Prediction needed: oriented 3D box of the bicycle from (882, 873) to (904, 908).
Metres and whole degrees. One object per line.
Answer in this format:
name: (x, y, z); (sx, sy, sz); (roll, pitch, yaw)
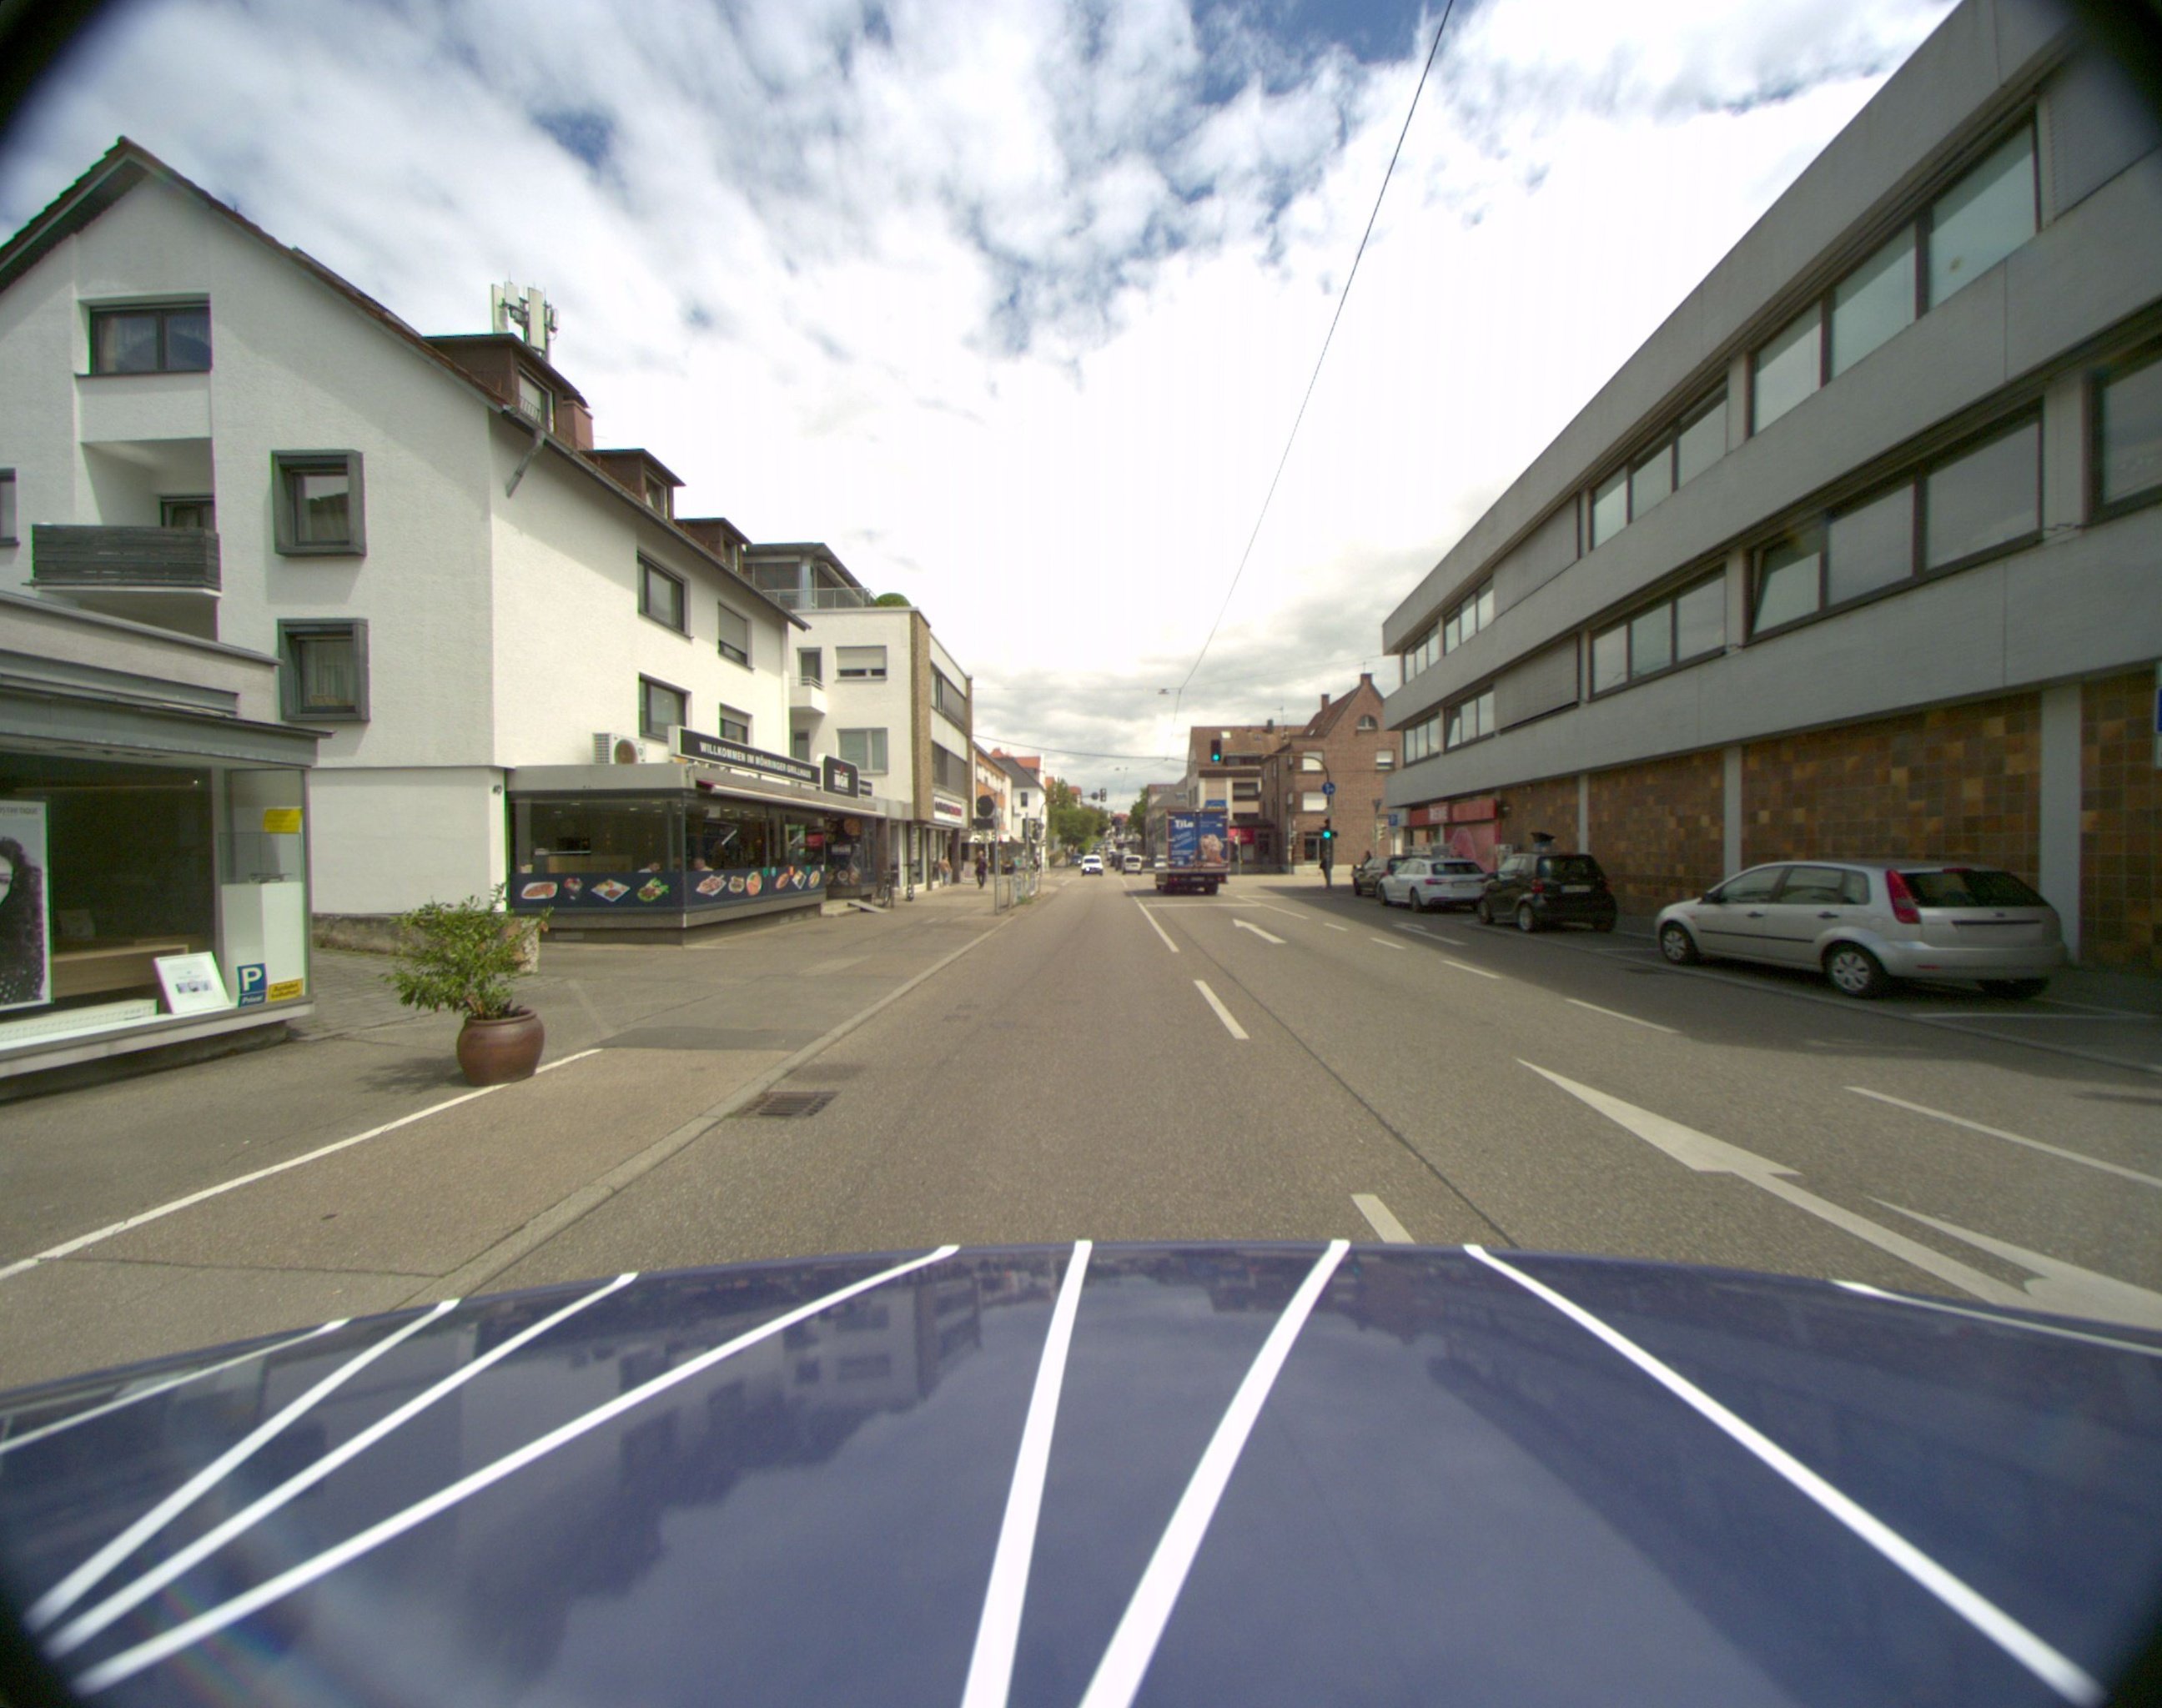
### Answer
bicycle: (-5.872, 1.127, 23.726); (0.476, 1.022, 1.635); (0, 0, -7)

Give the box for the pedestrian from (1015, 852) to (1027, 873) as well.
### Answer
pedestrian: (-4.436, 0.622, 56.397); (0.779, 1.517, 0.819); (0, 0, 4)

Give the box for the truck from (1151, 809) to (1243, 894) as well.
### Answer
truck: (4.604, -0.106, 31.718); (2.860, 3.075, 8.089); (0, 0, 2)

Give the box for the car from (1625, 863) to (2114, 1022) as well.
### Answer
car: (8.856, 0.857, 9.187); (1.726, 1.413, 4.149); (-2, 0, 3)

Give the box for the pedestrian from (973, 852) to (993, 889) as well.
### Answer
pedestrian: (-4.454, 0.725, 34.614); (0.797, 1.661, 0.807); (0, 1, 1)

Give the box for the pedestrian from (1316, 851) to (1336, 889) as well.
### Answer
pedestrian: (10.989, 0.709, 34.081); (0.719, 1.635, 0.682); (-2, 0, 7)

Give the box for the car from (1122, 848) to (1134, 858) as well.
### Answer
car: (8.591, -0.172, 139.119); (2.110, 1.778, 4.530); (-1, 0, 2)

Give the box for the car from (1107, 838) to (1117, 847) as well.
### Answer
car: (6.774, -2.515, 168.393); (1.982, 1.985, 5.028); (0, 0, 0)

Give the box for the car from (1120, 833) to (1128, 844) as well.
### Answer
car: (14.069, -5.036, 248.405); (2.428, 3.409, 7.637); (0, 0, 0)

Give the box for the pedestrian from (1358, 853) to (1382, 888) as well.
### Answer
pedestrian: (12.902, 0.730, 33.946); (0.820, 1.545, 0.846); (-2, 0, 8)

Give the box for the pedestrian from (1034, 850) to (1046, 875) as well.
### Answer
pedestrian: (-3.079, 0.631, 57.107); (0.581, 1.820, 0.882); (1, 1, 18)

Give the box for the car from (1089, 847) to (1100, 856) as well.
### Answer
car: (2.683, -0.481, 146.961); (1.998, 1.654, 4.000); (0, 0, 2)

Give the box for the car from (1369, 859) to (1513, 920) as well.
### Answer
car: (9.846, 0.901, 21.265); (2.048, 1.436, 4.954); (-2, 0, 5)

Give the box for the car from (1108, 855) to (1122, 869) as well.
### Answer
car: (4.800, 1.166, 107.879); (1.953, 1.866, 4.876); (0, 1, 1)

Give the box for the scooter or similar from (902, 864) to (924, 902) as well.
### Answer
scooter or similar: (-5.845, 0.996, 26.442); (0.690, 1.260, 1.184); (0, 1, -10)

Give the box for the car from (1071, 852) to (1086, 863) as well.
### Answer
car: (-0.389, 0.483, 110.196); (1.998, 1.654, 4.000); (0, 0, 2)

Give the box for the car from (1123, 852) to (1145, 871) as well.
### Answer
car: (5.152, 0.705, 73.919); (1.950, 1.810, 4.279); (0, 0, 2)

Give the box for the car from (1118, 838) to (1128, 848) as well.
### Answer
car: (9.308, -2.410, 169.448); (2.110, 2.109, 4.765); (-1, 0, 2)

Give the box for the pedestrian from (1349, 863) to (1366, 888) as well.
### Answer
pedestrian: (12.427, 0.963, 34.205); (0.560, 1.050, 0.663); (-2, 0, 8)

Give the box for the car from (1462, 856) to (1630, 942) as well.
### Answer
car: (9.325, 0.840, 15.515); (1.740, 1.547, 3.057); (-2, 0, 5)

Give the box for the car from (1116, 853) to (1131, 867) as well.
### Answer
car: (5.058, 0.675, 90.917); (1.681, 1.626, 2.833); (0, 0, 0)

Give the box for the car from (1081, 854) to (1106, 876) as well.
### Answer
car: (1.014, 0.922, 65.378); (1.999, 1.797, 4.765); (-2, 0, 0)

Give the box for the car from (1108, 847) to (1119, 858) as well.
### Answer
car: (5.435, -0.263, 127.835); (1.819, 1.919, 4.113); (0, 0, 2)

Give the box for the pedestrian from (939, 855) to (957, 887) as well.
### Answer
pedestrian: (-6.224, 0.793, 35.646); (0.681, 1.490, 0.720); (0, 1, 2)

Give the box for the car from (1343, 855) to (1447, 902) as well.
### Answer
car: (10.876, 0.805, 26.668); (2.049, 1.467, 4.286); (-2, 0, 4)
